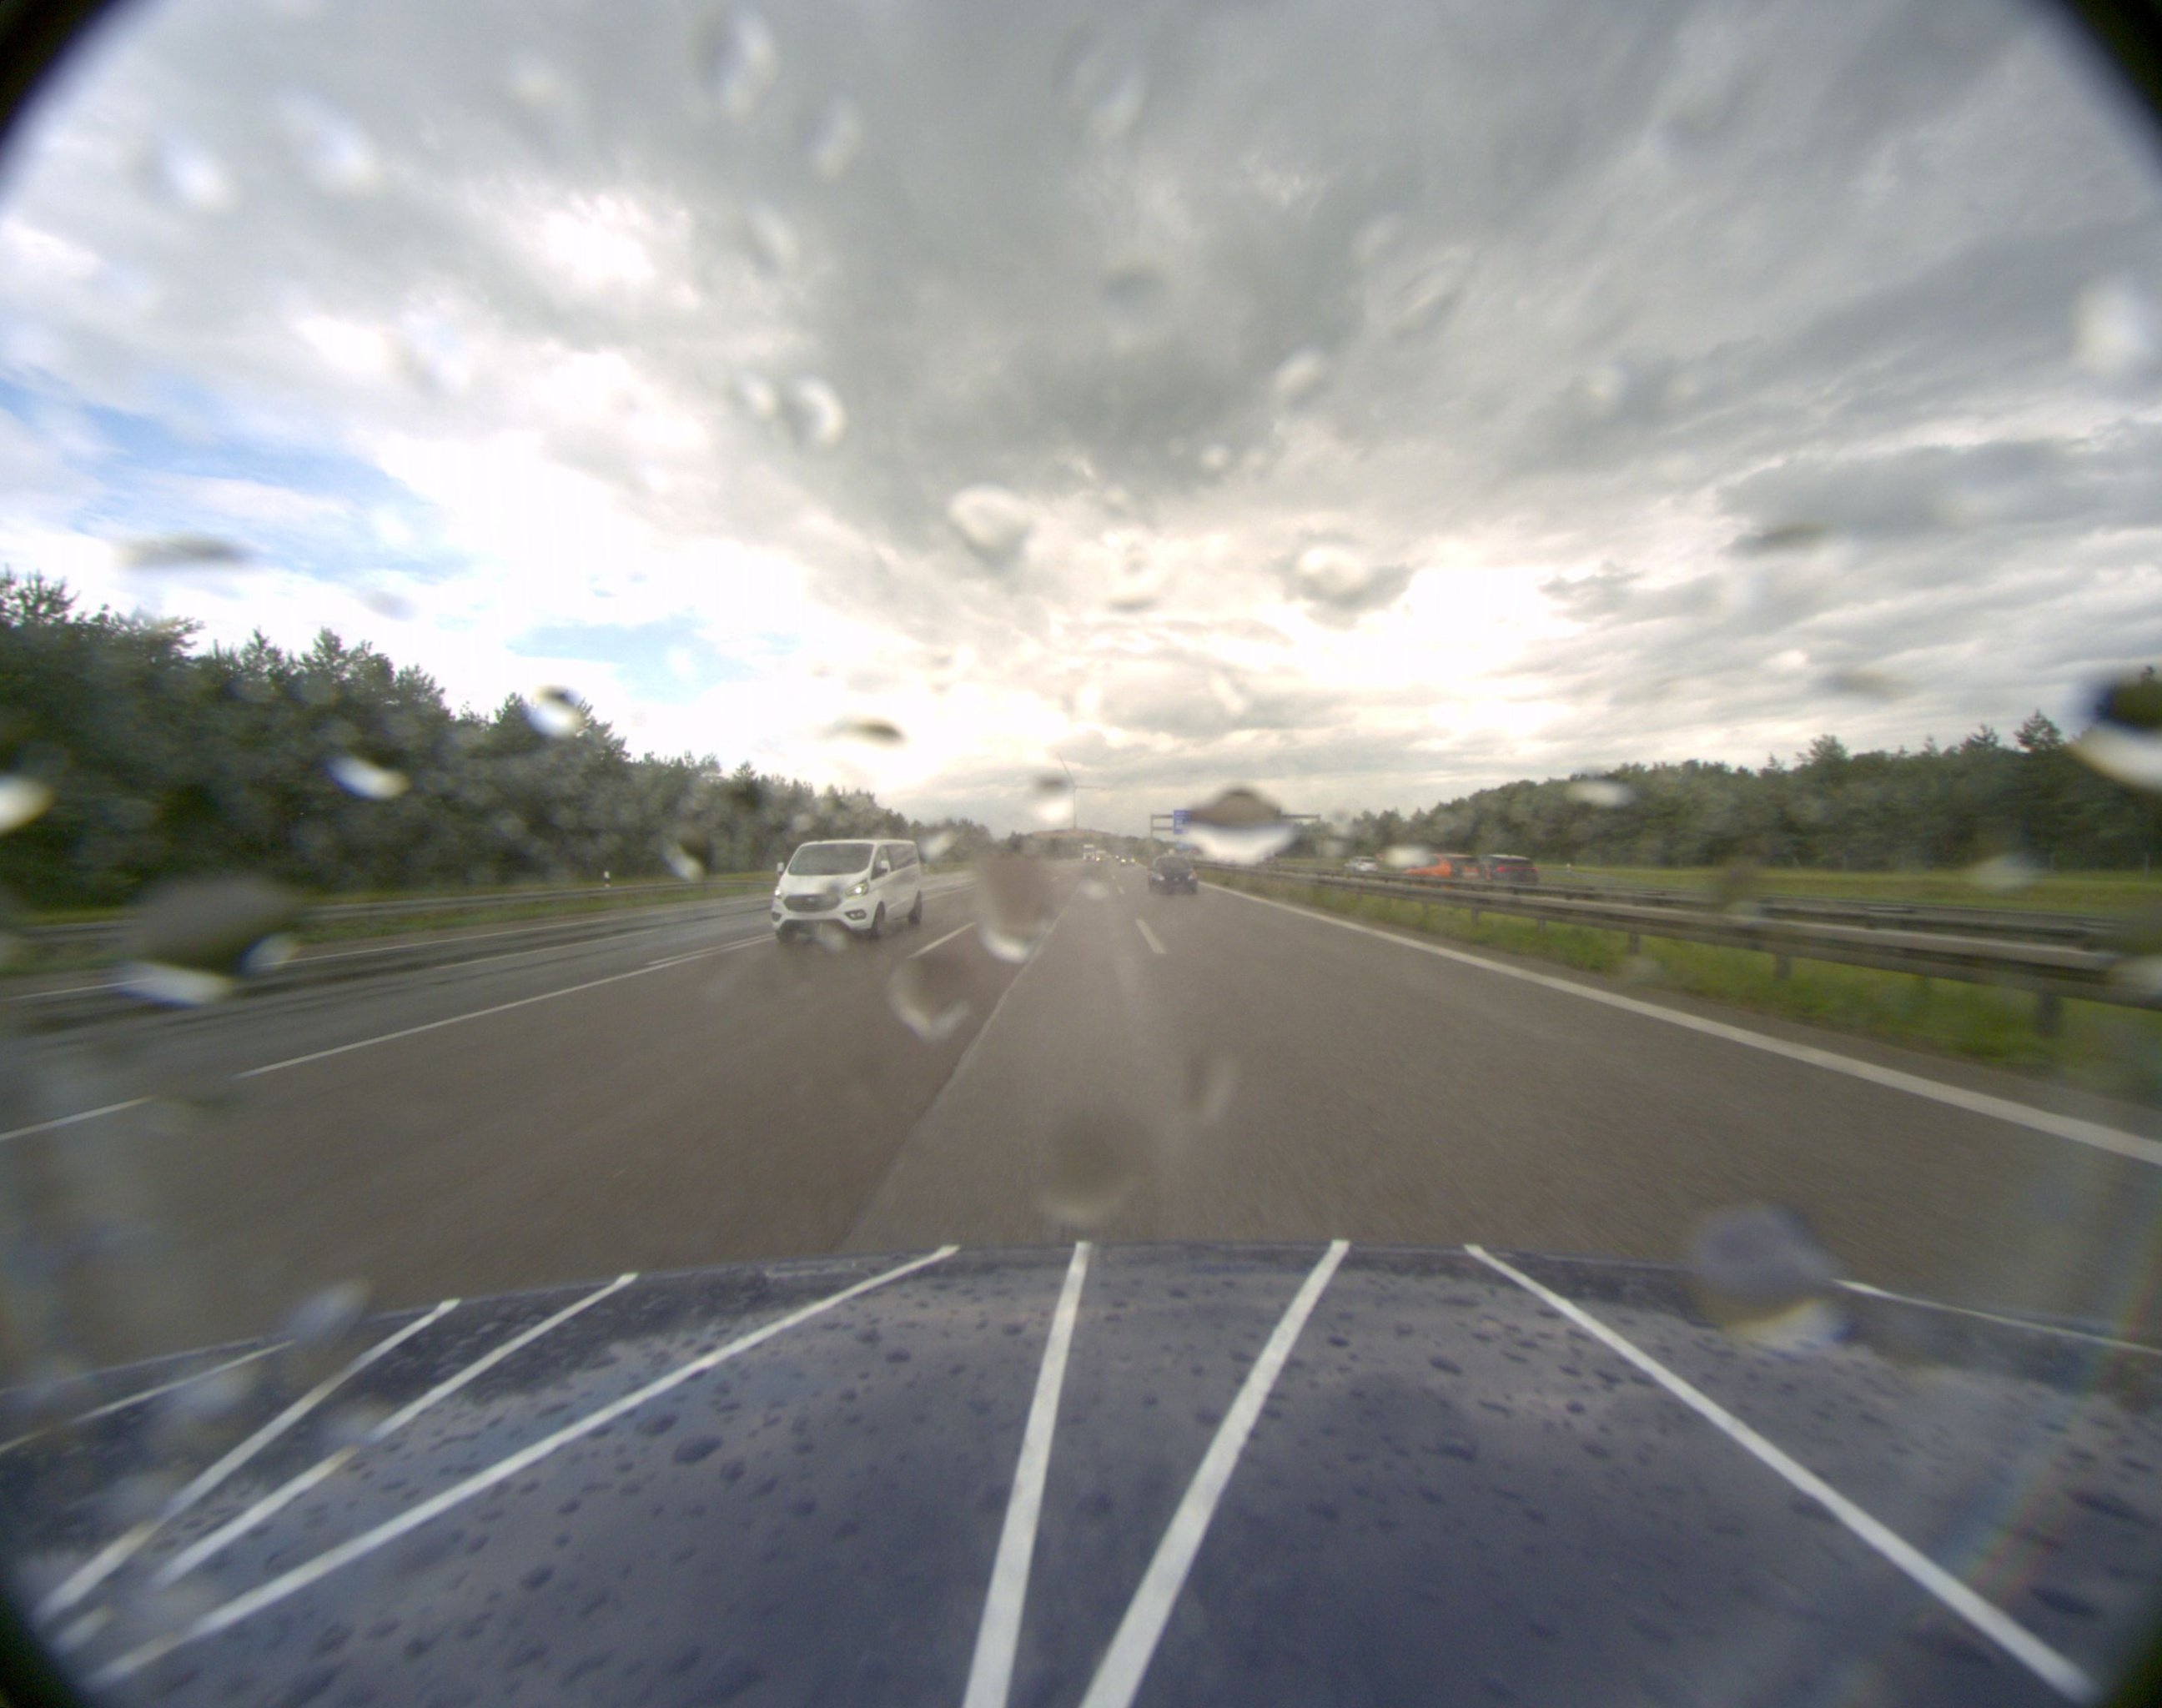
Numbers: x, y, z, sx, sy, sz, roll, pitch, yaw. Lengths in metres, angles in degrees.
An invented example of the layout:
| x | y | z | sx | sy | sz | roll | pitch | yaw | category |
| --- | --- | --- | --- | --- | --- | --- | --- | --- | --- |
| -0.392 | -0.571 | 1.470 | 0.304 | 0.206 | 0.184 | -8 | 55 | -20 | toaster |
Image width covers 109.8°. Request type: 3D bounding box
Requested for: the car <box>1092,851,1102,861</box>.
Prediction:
| x | y | z | sx | sy | sz | roll | pitch | yaw | category |
| --- | --- | --- | --- | --- | --- | --- | --- | --- | --- |
| 3.439 | 0.431 | 164.062 | 1.999 | 2.002 | 3.999 | 0 | 1 | -1 | car |

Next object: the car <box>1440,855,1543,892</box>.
| x | y | z | sx | sy | sz | roll | pitch | yaw | category |
| --- | --- | --- | --- | --- | --- | --- | --- | --- | --- |
| 17.324 | 0.766 | 32.355 | 1.921 | 1.448 | 4.652 | 0 | 0 | 1 | car |

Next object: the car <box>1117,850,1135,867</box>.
| x | y | z | sx | sy | sz | roll | pitch | yaw | category |
| --- | --- | --- | --- | --- | --- | --- | --- | --- | --- |
| 5.585 | 0.537 | 94.857 | 1.998 | 2.002 | 4.000 | -2 | 0 | 1 | car |

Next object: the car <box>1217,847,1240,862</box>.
| x | y | z | sx | sy | sz | roll | pitch | yaw | category |
| --- | --- | --- | --- | --- | --- | --- | --- | --- | --- |
| 16.499 | 0.051 | 85.299 | 1.998 | 1.463 | 4.117 | -2 | 1 | 4 | car |

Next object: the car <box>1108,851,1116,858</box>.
| x | y | z | sx | sy | sz | roll | pitch | yaw | category |
| --- | --- | --- | --- | --- | --- | --- | --- | --- | --- |
| 9.054 | 0.138 | 220.941 | 1.999 | 2.002 | 3.999 | 0 | 1 | -1 | car |

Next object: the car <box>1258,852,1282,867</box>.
| x | y | z | sx | sy | sz | roll | pitch | yaw | category |
| --- | --- | --- | --- | --- | --- | --- | --- | --- | --- |
| 19.891 | 0.531 | 80.113 | 1.641 | 1.463 | 4.401 | -1 | 0 | 4 | car |

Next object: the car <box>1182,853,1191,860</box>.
| x | y | z | sx | sy | sz | roll | pitch | yaw | category |
| --- | --- | --- | --- | --- | --- | --- | --- | --- | --- |
| 26.979 | 0.655 | 193.996 | 1.723 | 1.565 | 4.000 | 0 | 0 | 1 | car |

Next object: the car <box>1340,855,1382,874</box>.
| x | y | z | sx | sy | sz | roll | pitch | yaw | category |
| --- | --- | --- | --- | --- | --- | --- | --- | --- | --- |
| 22.656 | 0.826 | 61.686 | 1.795 | 1.463 | 4.819 | 0 | 0 | 1 | car |

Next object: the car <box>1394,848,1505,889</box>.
| x | y | z | sx | sy | sz | roll | pitch | yaw | category |
| --- | --- | --- | --- | --- | --- | --- | --- | --- | --- |
| 13.371 | 0.477 | 27.932 | 1.921 | 1.357 | 4.652 | 0 | 0 | 1 | car |

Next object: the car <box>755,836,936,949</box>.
| x | y | z | sx | sy | sz | roll | pitch | yaw | category |
| --- | --- | --- | --- | --- | --- | --- | --- | --- | --- |
| -4.806 | 0.692 | 16.560 | 1.998 | 2.002 | 5.483 | -2 | 0 | 2 | car |

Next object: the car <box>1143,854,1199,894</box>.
| x | y | z | sx | sy | sz | roll | pitch | yaw | category |
| --- | --- | --- | --- | --- | --- | --- | --- | --- | --- |
| 3.405 | 0.728 | 29.405 | 1.809 | 1.321 | 4.431 | -2 | 1 | 2 | car |

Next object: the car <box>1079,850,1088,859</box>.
| x | y | z | sx | sy | sz | roll | pitch | yaw | category |
| --- | --- | --- | --- | --- | --- | --- | --- | --- | --- |
| 0.633 | 0.147 | 182.073 | 1.999 | 2.002 | 3.999 | 0 | 1 | -1 | car |
